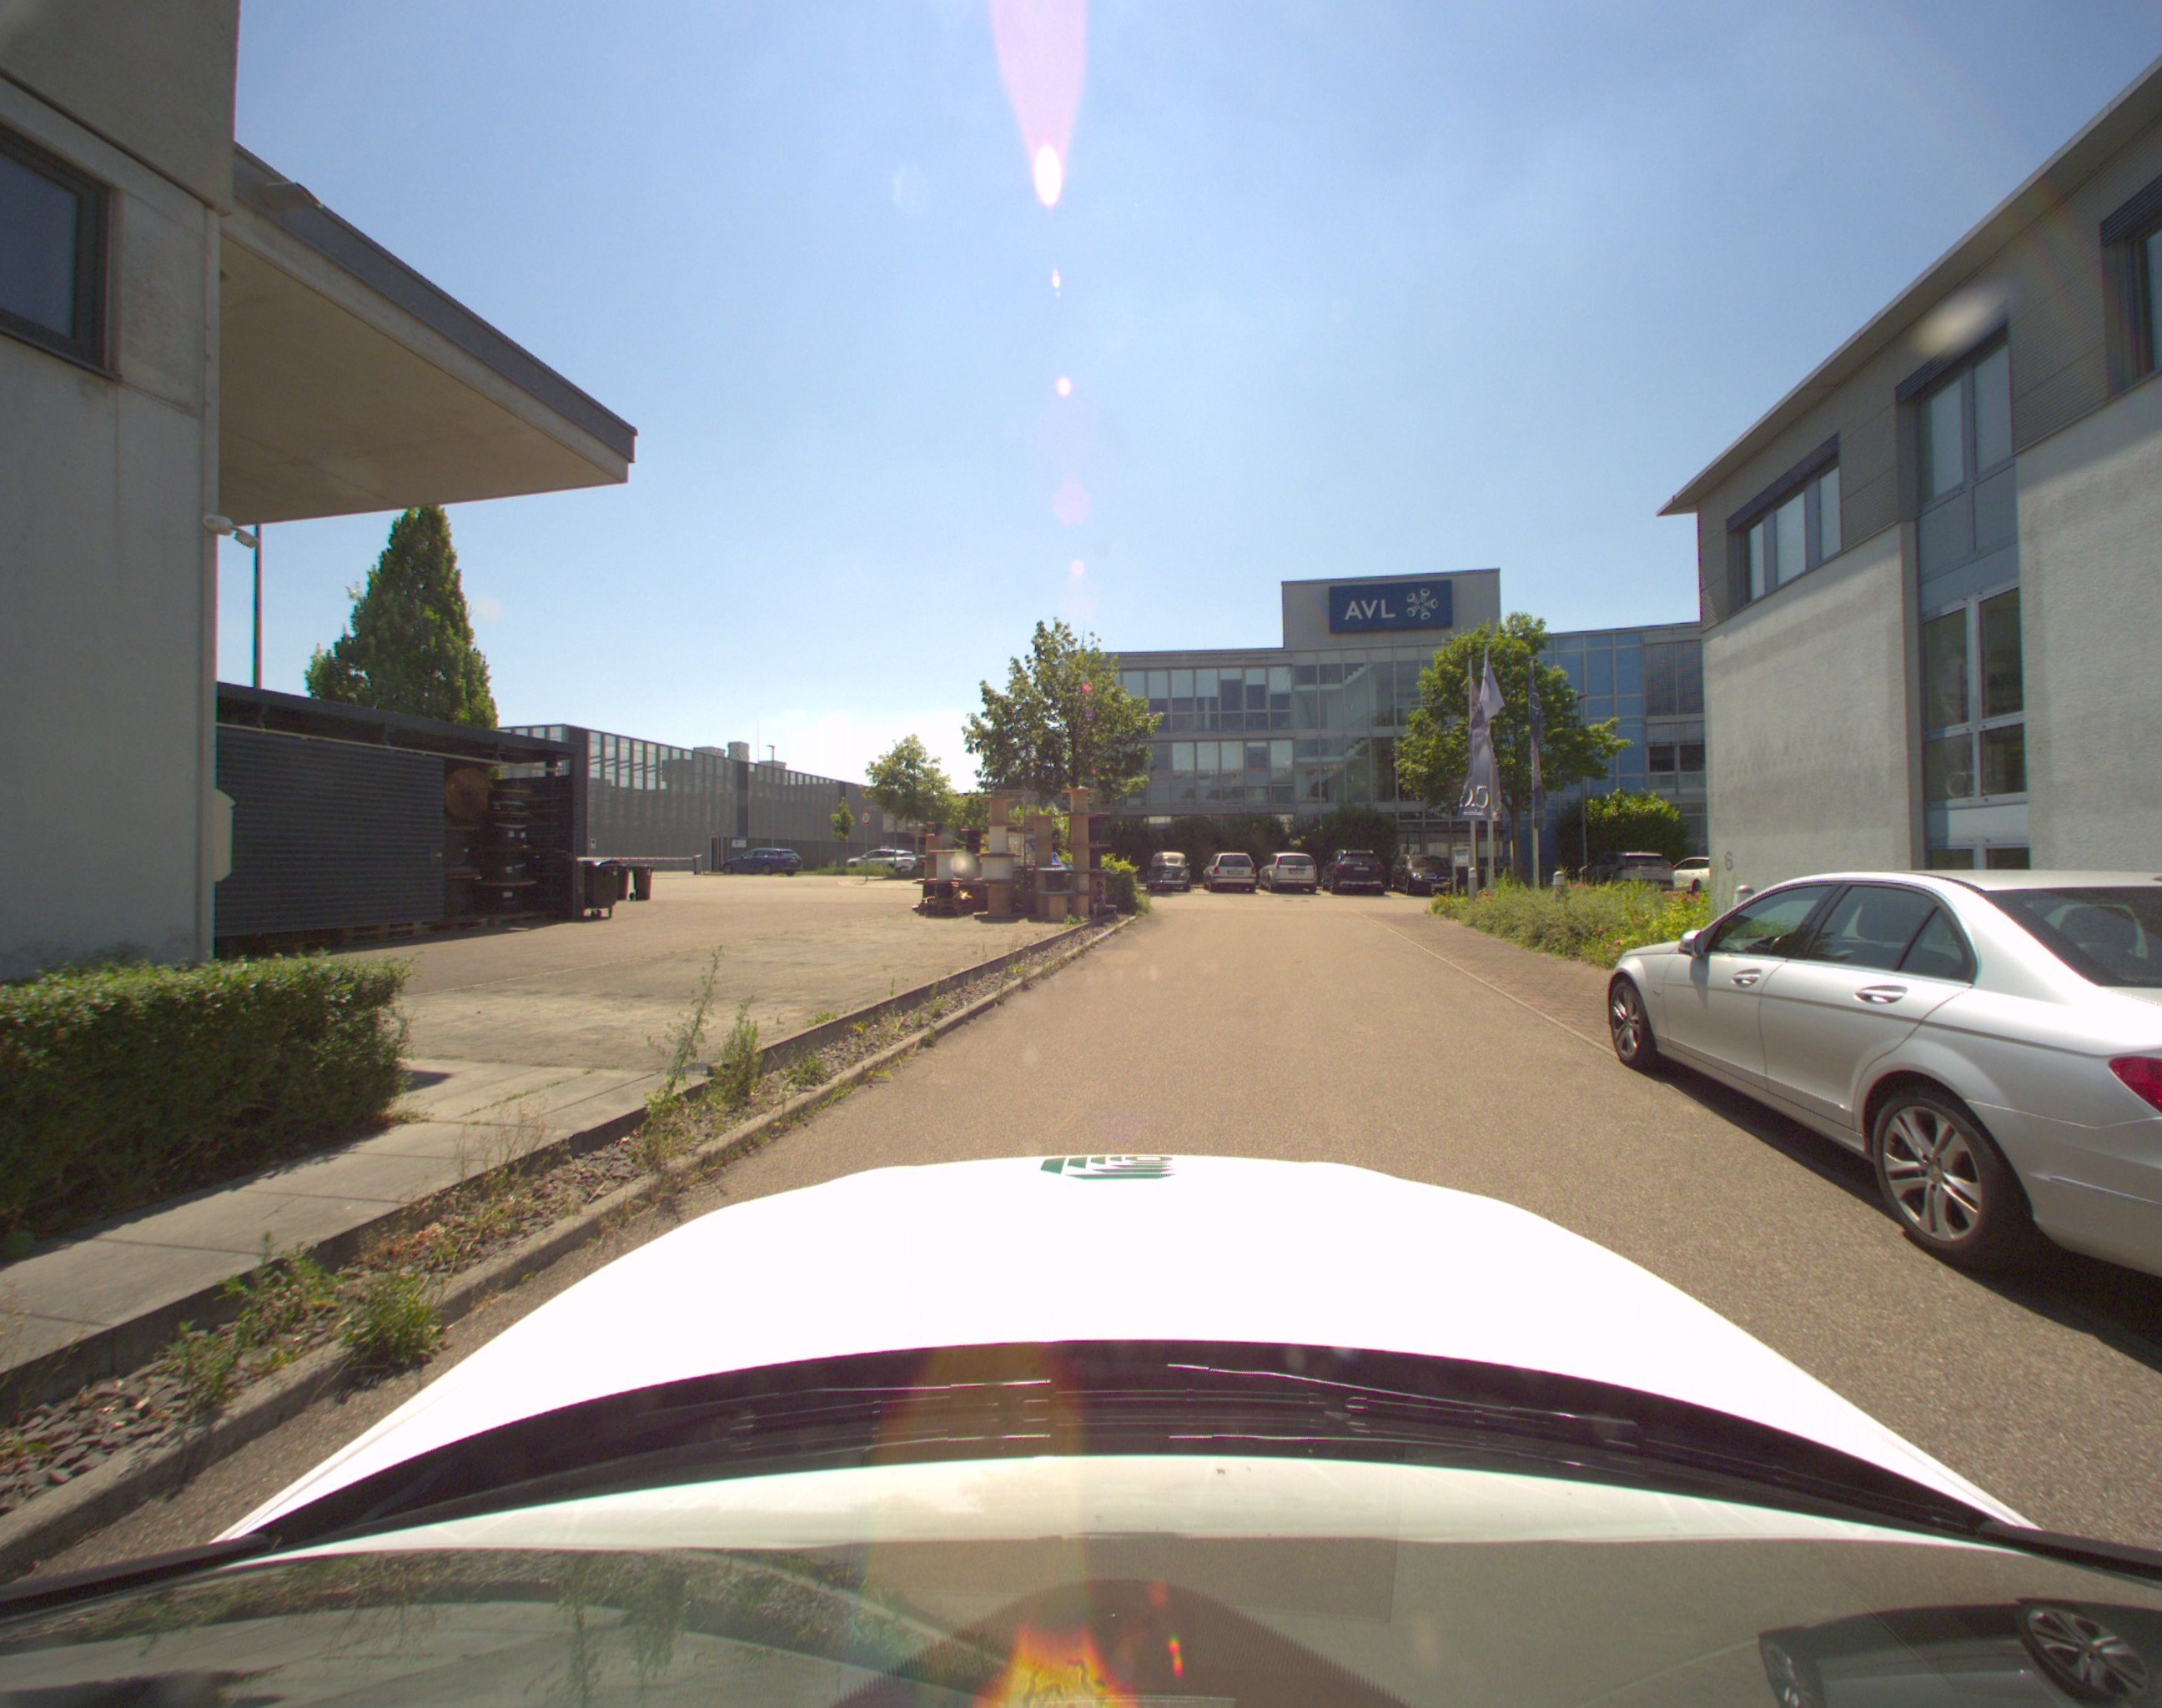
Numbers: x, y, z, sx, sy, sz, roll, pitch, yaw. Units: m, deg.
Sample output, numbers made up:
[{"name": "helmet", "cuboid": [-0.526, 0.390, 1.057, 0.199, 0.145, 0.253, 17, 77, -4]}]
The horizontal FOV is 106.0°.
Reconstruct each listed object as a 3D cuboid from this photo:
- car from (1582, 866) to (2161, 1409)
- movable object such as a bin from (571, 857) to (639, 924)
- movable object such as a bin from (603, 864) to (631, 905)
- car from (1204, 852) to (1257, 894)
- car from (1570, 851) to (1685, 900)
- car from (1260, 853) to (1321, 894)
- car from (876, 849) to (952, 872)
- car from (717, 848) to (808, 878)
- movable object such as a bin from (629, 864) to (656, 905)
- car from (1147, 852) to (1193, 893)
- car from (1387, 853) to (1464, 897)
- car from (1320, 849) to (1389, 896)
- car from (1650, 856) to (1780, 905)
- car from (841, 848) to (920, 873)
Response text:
[{"name": "car", "cuboid": [4.245, 0.769, 4.039, 1.786, 1.398, 4.437, 0, -1, 15]}, {"name": "movable object such as a bin", "cuboid": [-9.848, 0.729, 16.860, 0.804, 1.345, 0.888, 0, -1, 17]}, {"name": "movable object such as a bin", "cuboid": [-12.088, 0.789, 21.214, 0.582, 1.027, 0.422, 0, -1, -22]}, {"name": "car", "cuboid": [5.675, 0.687, 31.234, 1.723, 1.449, 3.660, 1, 1, 6]}, {"name": "car", "cuboid": [19.402, 0.703, 29.143, 1.808, 1.619, 4.352, 0, 0, 10]}, {"name": "car", "cuboid": [7.997, 0.706, 31.382, 1.756, 1.449, 3.660, 1, 1, 6]}, {"name": "car", "cuboid": [-11.347, 0.412, 55.387, 4.795, 1.491, 2.012, 1, 1, 25]}, {"name": "car", "cuboid": [-17.018, 0.441, 43.503, 4.459, 1.491, 2.012, 1, 1, 25]}, {"name": "movable object such as a bin", "cuboid": [-11.533, 0.793, 21.438, 0.579, 1.036, 0.422, 0, -1, -22]}, {"name": "car", "cuboid": [3.469, 0.654, 31.368, 1.532, 1.449, 3.664, 1, 1, 9]}, {"name": "car", "cuboid": [12.754, 0.726, 30.387, 1.759, 1.482, 4.271, 0, 0, 10]}, {"name": "car", "cuboid": [10.228, 0.639, 30.722, 1.915, 1.610, 3.998, 1, 1, 10]}, {"name": "car", "cuboid": [21.901, 0.851, 28.377, 1.725, 1.491, 4.352, 1, 1, 10]}, {"name": "car", "cuboid": [-13.003, 0.398, 52.764, 4.795, 1.491, 2.012, 1, 1, 25]}]
